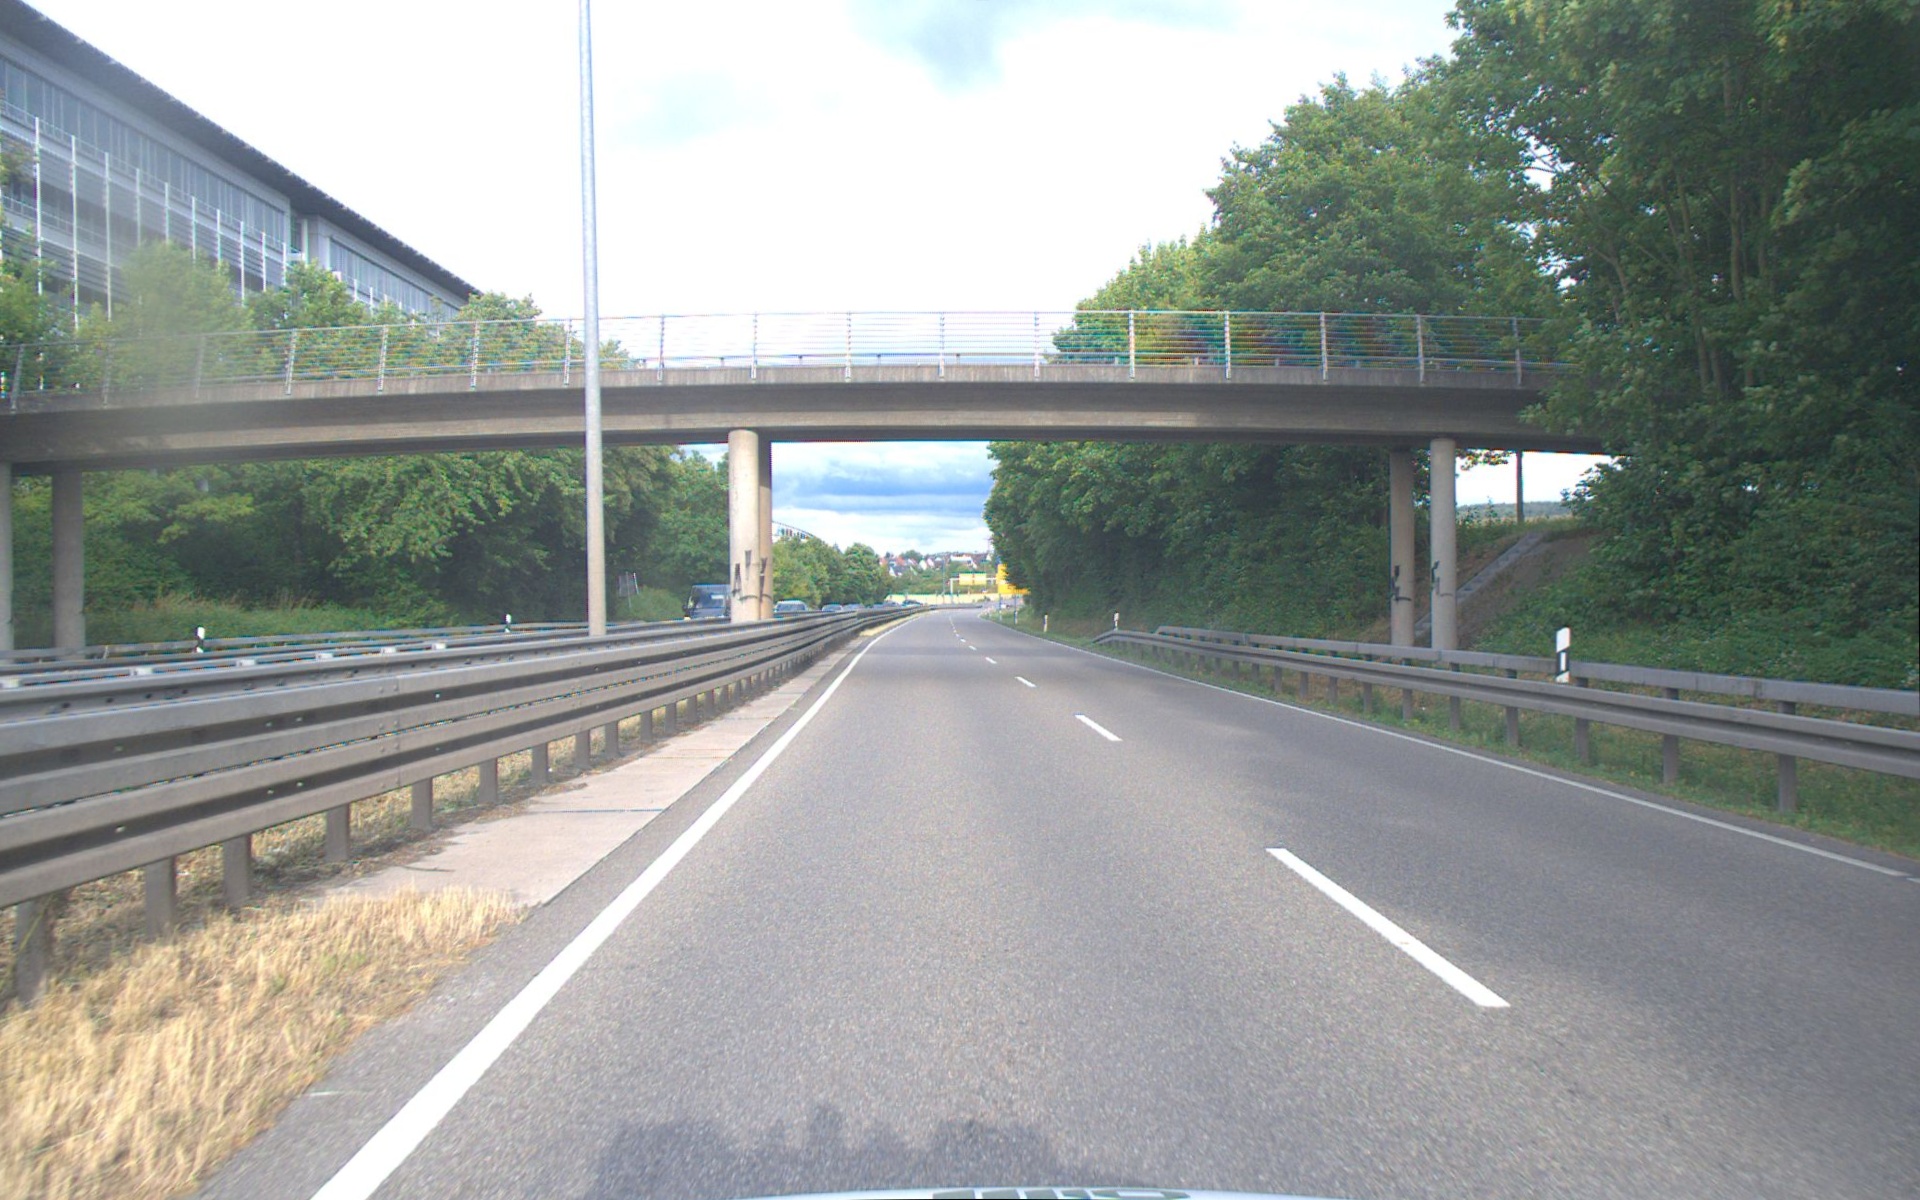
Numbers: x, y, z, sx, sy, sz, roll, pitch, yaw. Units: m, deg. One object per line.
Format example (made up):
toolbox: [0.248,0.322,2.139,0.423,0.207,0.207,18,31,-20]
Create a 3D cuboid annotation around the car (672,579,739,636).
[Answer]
car: [-12.040,0.323,78.607,2.204,2.581,6.939,0,0,-1]
